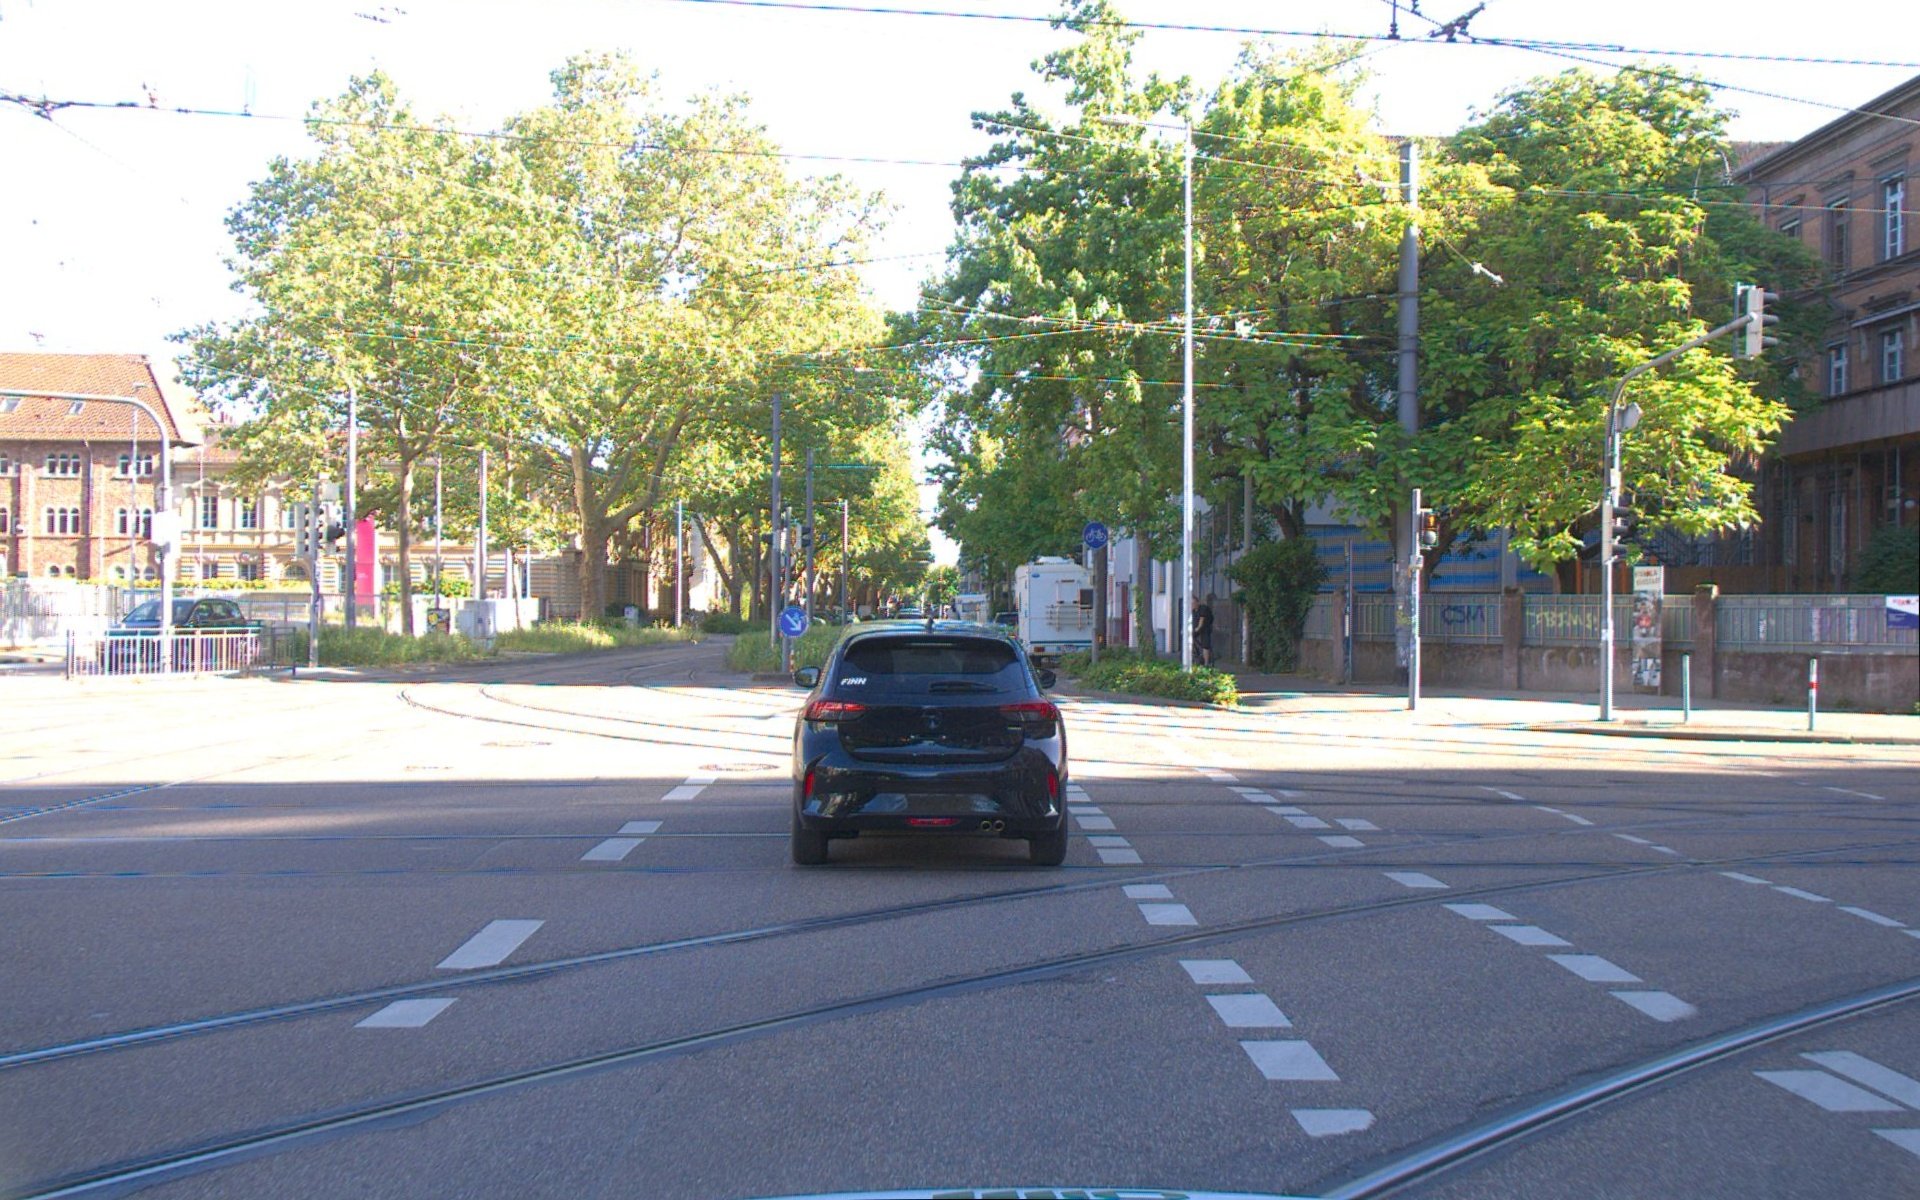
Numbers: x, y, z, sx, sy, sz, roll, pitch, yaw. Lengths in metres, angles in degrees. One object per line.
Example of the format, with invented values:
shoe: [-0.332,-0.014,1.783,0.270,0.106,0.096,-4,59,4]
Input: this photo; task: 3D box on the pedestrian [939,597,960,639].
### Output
pedestrian: [-0.511,0.894,81.749,1.015,2.059,1.212,1,-1,-2]

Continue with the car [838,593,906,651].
car: [-2.726,0.669,52.135,1.953,1.656,4.469,3,0,-1]

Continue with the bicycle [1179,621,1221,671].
bicycle: [5.553,1.043,38.195,0.626,1.089,1.951,0,0,18]

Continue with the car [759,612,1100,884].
car: [-0.153,0.837,11.286,1.866,1.450,4.215,1,0,0]

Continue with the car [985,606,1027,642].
car: [2.069,1.061,74.997,1.754,1.536,3.873,-1,0,0]

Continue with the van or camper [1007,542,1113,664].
van or camper: [2.788,0.096,48.196,2.328,3.180,7.548,-2,0,-2]

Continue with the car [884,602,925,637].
car: [-2.579,0.906,77.721,1.754,1.536,3.873,-1,0,0]

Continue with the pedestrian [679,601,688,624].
pedestrian: [-21.722,0.971,129.895,0.606,1.764,0.596,2,-1,-2]

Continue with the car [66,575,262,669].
car: [-17.897,0.465,37.468,1.951,1.982,4.427,0,0,6]

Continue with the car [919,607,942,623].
car: [-2.616,1.317,147.418,1.866,1.450,4.215,0,0,0]

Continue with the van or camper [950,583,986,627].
van or camper: [0.592,0.388,121.477,2.435,3.046,5.434,2,-1,0]

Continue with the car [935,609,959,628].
car: [-1.061,1.513,136.129,1.866,1.450,4.215,0,0,0]

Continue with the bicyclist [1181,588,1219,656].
bicyclist: [5.545,0.507,38.196,0.733,1.536,0.702,0,-1,19]
